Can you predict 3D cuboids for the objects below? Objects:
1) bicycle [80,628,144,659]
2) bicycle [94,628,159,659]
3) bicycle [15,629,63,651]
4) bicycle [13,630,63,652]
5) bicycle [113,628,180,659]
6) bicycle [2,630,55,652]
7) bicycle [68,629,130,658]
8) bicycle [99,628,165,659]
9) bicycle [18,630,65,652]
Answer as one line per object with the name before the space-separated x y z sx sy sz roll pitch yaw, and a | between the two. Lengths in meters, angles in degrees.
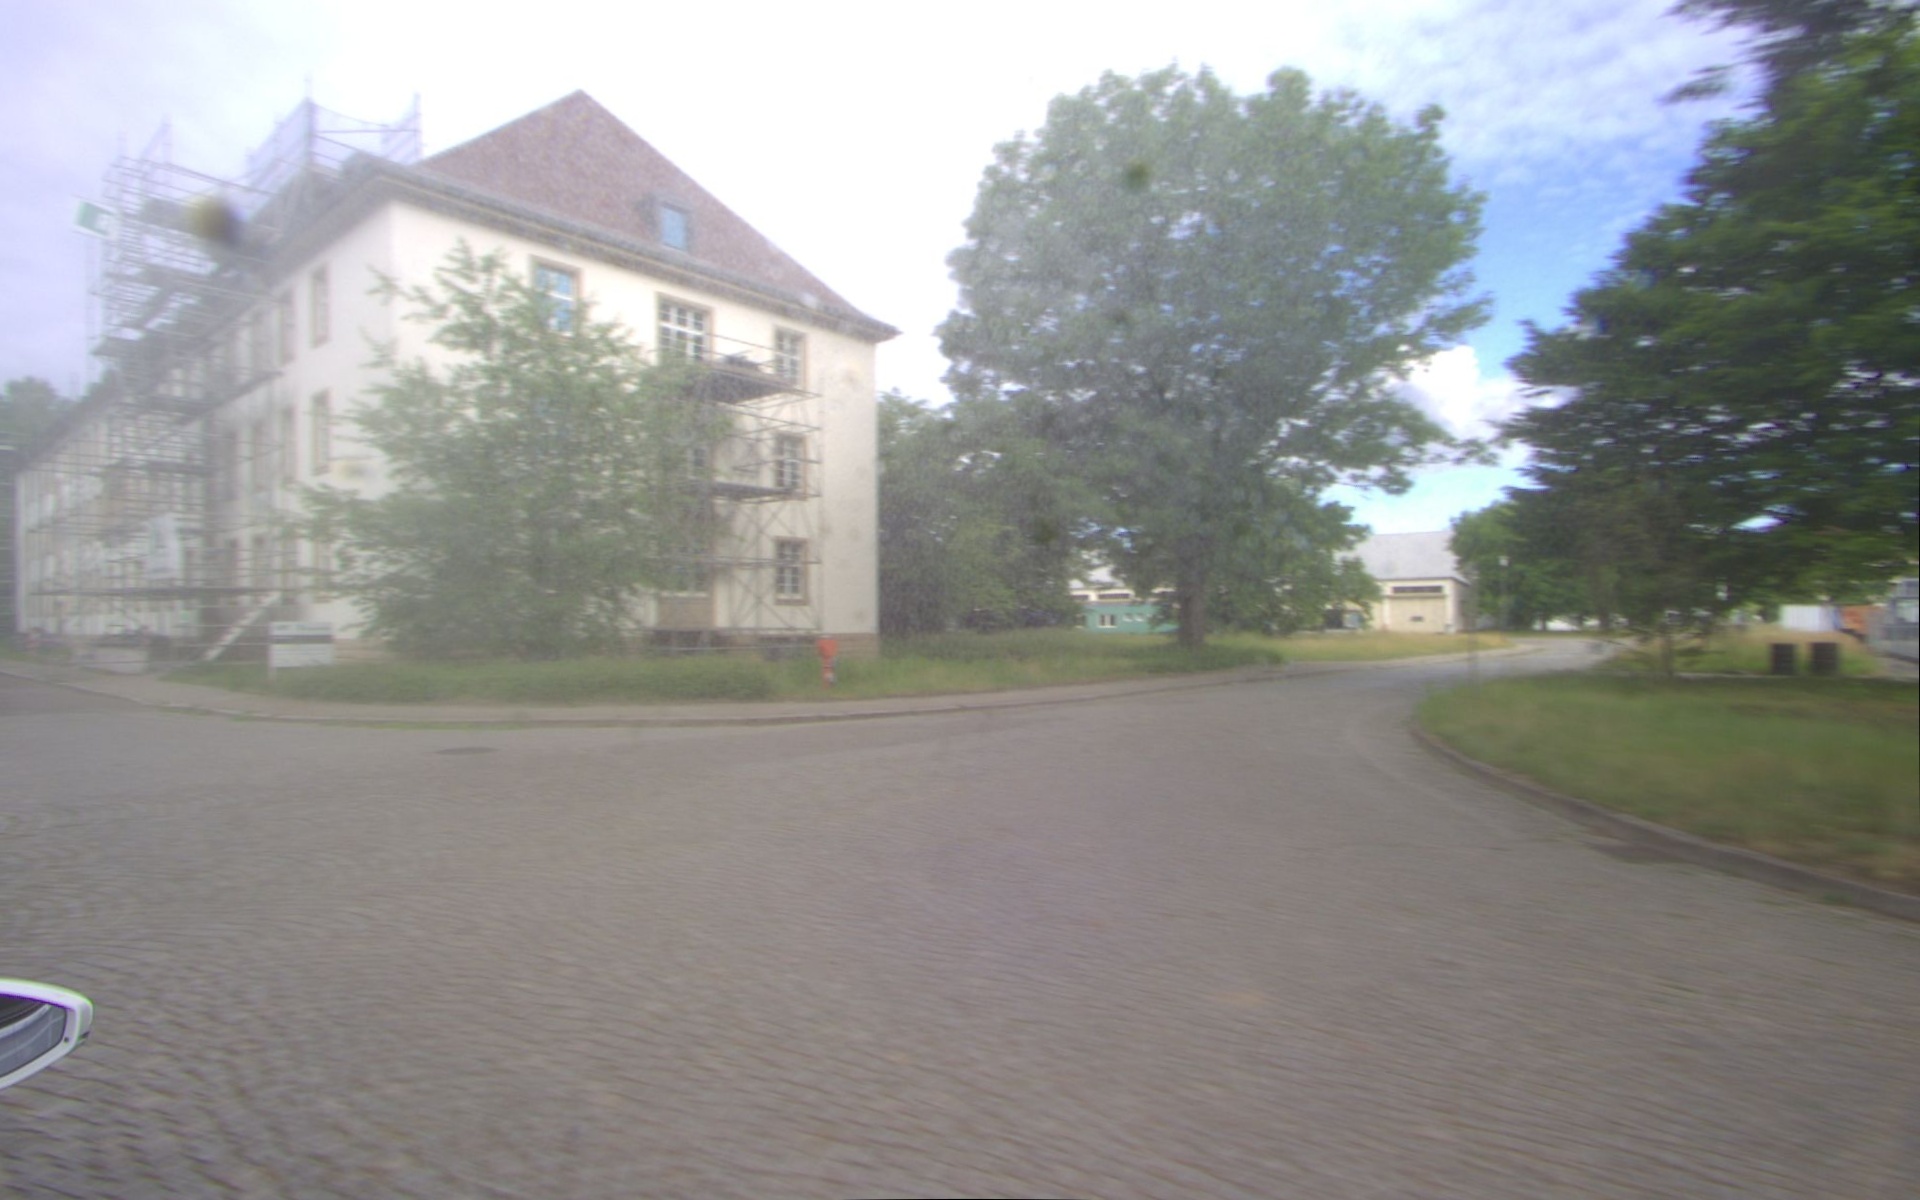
bicycle | -32.099 1.634 37.930 1.843 1.109 0.506 1 -1 -43
bicycle | -31.190 1.615 37.483 1.843 1.109 0.506 1 -1 -43
bicycle | -48.427 2.082 52.675 1.843 1.109 0.506 1 -1 -43
bicycle | -47.532 2.101 51.628 1.834 1.109 0.509 0 -1 -28
bicycle | -29.447 1.566 36.267 1.843 1.109 0.506 1 -1 -43
bicycle | -46.493 2.038 50.001 1.834 1.109 0.509 0 -1 -28
bicycle | -33.908 1.693 39.454 1.843 1.109 0.506 1 -1 -43
bicycle | -30.060 1.572 36.379 1.843 1.109 0.506 1 -1 -43
bicycle | -48.889 2.166 53.340 1.843 1.109 0.506 1 -1 -43
